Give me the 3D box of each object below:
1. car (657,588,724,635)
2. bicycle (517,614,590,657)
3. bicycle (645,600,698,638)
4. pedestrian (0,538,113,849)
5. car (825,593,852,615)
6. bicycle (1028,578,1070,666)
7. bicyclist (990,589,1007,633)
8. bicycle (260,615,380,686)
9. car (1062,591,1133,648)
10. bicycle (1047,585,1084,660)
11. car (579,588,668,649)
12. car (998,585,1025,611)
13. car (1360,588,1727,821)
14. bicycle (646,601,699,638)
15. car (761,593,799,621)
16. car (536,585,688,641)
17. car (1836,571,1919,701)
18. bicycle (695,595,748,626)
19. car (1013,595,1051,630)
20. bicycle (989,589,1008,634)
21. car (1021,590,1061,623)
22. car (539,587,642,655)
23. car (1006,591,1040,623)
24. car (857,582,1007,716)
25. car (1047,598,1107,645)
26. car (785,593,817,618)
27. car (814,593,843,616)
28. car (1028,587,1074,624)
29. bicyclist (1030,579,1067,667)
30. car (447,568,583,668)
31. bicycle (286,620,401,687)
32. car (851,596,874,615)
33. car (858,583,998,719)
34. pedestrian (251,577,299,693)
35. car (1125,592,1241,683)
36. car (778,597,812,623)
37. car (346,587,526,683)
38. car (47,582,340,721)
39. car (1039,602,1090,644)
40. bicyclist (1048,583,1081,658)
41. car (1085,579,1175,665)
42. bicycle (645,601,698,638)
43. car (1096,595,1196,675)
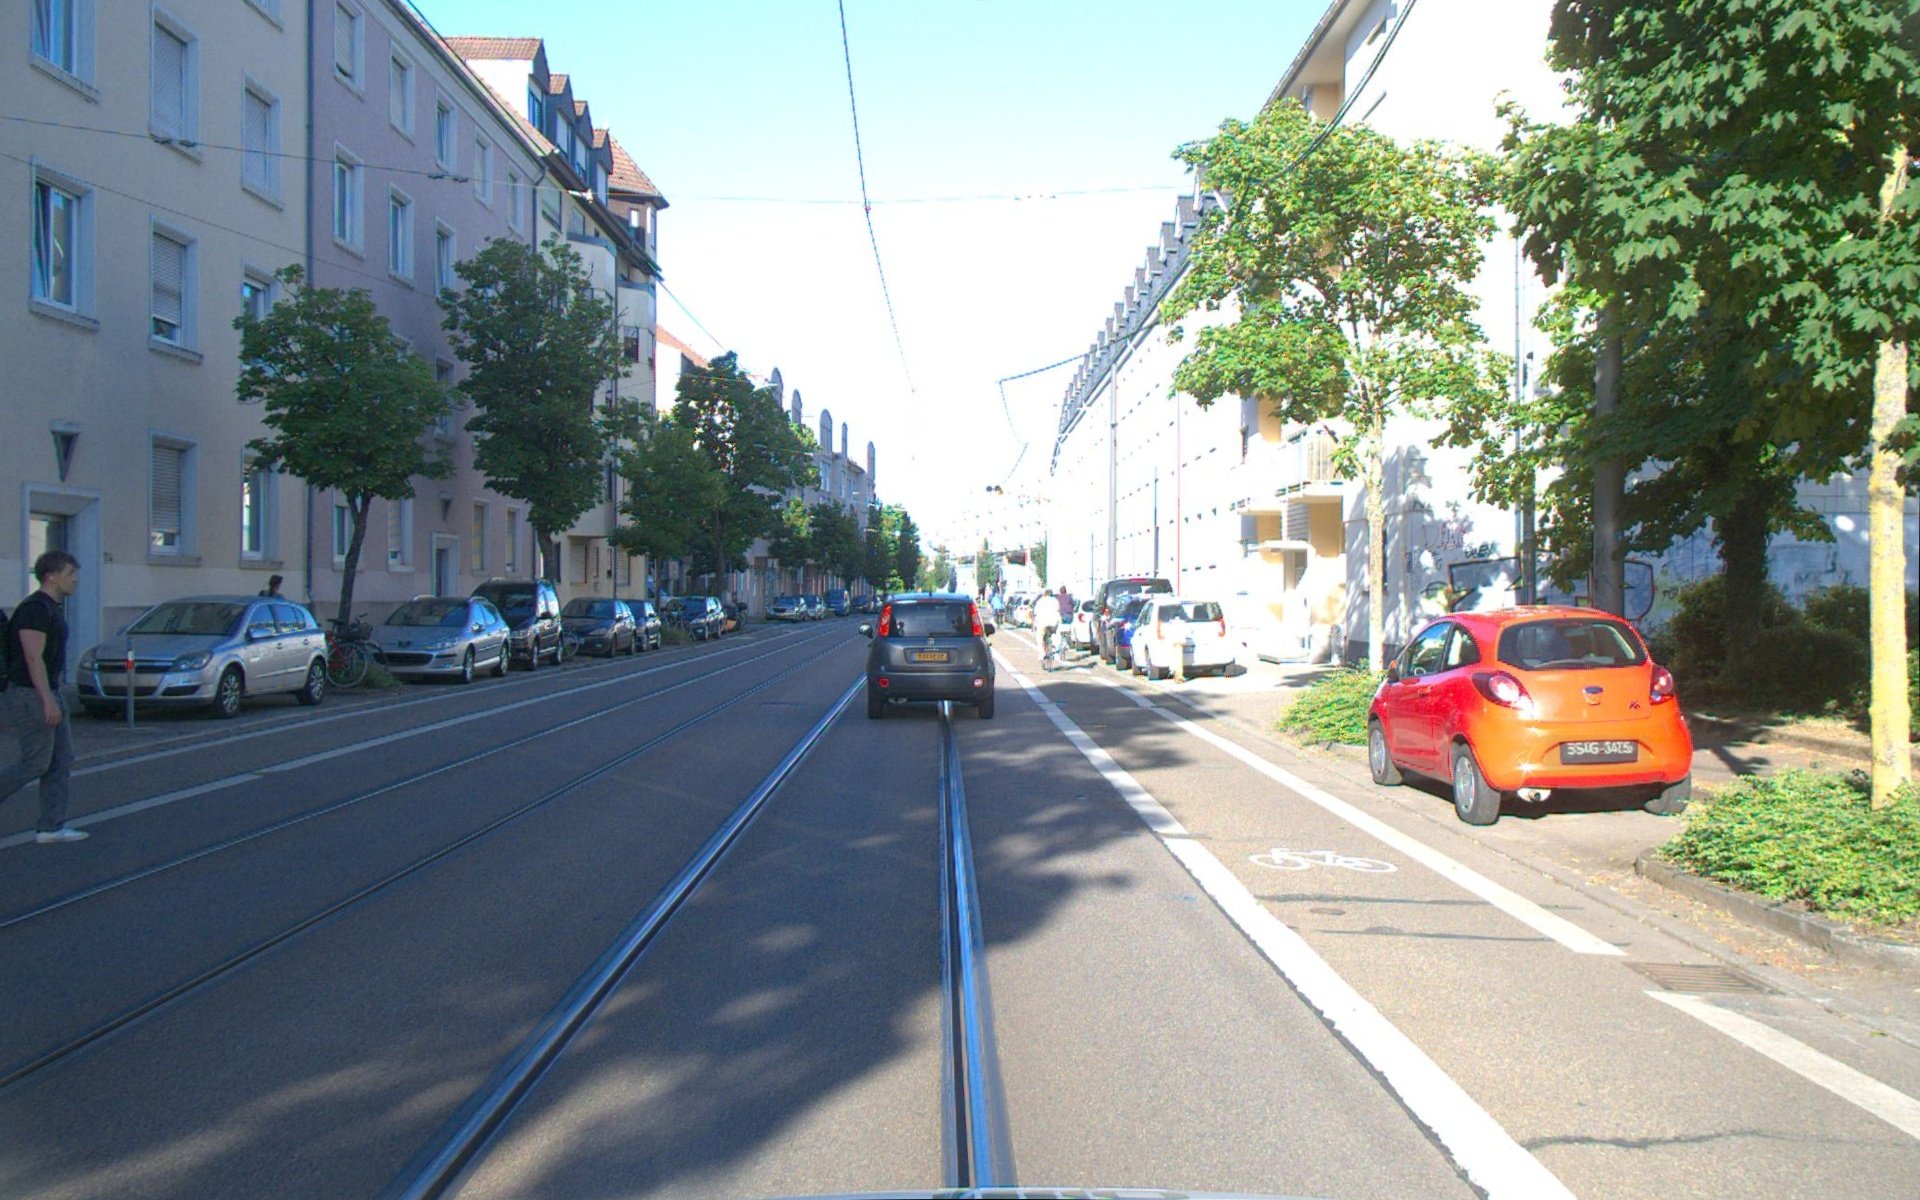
[{"bbox_3d":[-9.545,0.397,58.908,1.798,1.583,3.999,2,0,-2],"label":"car"},{"bbox_3d":[-9.629,0.841,39.189,1.600,0.954,0.516,2,0,-5],"label":"bicycle"},{"bbox_3d":[-9.687,0.626,55.537,1.695,1.217,0.372,2,0,-5],"label":"bicycle"},{"bbox_3d":[-5.658,0.542,10.013,0.837,1.808,0.731,-1,1,-21],"label":"pedestrian"},{"bbox_3d":[-8.932,0.294,121.650,1.672,1.523,3.721,2,0,0],"label":"car"},{"bbox_3d":[1.849,0.448,34.678,0.661,1.777,2.157,1,0,-2],"label":"bicycle"},{"bbox_3d":[1.788,0.512,77.496,0.700,2.049,0.831,1,0,-2],"label":"bicyclist"},{"bbox_3d":[-9.780,0.769,25.289,1.632,1.019,0.476,2,0,2],"label":"bicycle"},{"bbox_3d":[3.838,0.531,46.600,1.622,1.526,3.129,2,0,-1],"label":"car"},{"bbox_3d":[2.556,0.529,40.301,0.661,1.777,2.157,1,0,-2],"label":"bicycle"},{"bbox_3d":[-9.723,0.520,48.111,1.772,1.648,4.063,2,0,-1],"label":"car"},{"bbox_3d":[3.347,-0.164,107.868,1.551,1.627,3.375,2,0,-2],"label":"car"},{"bbox_3d":[4.403,0.712,13.000,1.602,1.534,3.396,-2,0,-1],"label":"car"},{"bbox_3d":[-9.793,0.674,56.345,1.695,1.217,0.372,2,0,-5],"label":"bicycle"},{"bbox_3d":[-10.137,0.387,93.185,1.672,1.523,3.721,2,0,0],"label":"car"},{"bbox_3d":[-16.667,0.612,79.430,6.759,2.445,2.176,2,0,0],"label":"car"},{"bbox_3d":[14.256,0.515,22.137,4.067,1.652,1.892,2,0,-3],"label":"car"},{"bbox_3d":[-10.517,0.474,72.889,2.232,1.310,0.757,2,0,-6],"label":"bicycle"},{"bbox_3d":[3.468,0.593,80.326,1.551,1.627,3.375,2,0,-2],"label":"car"},{"bbox_3d":[1.786,0.517,77.326,0.727,2.049,2.811,1,0,-2],"label":"bicycle"},{"bbox_3d":[3.721,0.286,76.060,1.551,1.430,3.375,2,0,-2],"label":"car"},{"bbox_3d":[-9.566,0.511,43.122,1.772,1.648,4.063,2,0,-1],"label":"car"},{"bbox_3d":[3.327,0.377,88.299,1.551,1.627,3.375,2,0,-2],"label":"car"},{"bbox_3d":[-0.429,0.566,20.843,1.697,1.535,3.394,0,0,-4],"label":"car"},{"bbox_3d":[3.717,0.660,53.044,1.551,1.430,3.375,2,0,-2],"label":"car"},{"bbox_3d":[-10.318,0.335,107.499,1.672,1.523,3.721,2,0,0],"label":"car"},{"bbox_3d":[-9.154,0.330,115.207,1.672,1.523,3.721,2,0,0],"label":"car"},{"bbox_3d":[3.705,0.205,67.670,1.551,1.430,3.375,2,0,-2],"label":"car"},{"bbox_3d":[1.852,0.478,34.645,0.685,1.790,0.757,1,0,-2],"label":"bicyclist"},{"bbox_3d":[-9.535,0.359,35.762,1.772,1.977,4.333,2,0,-1],"label":"car"},{"bbox_3d":[-9.830,0.847,26.414,1.637,1.019,0.475,2,0,-12],"label":"bicycle"},{"bbox_3d":[-8.094,0.415,137.436,1.672,1.523,3.721,2,0,0],"label":"car"},{"bbox_3d":[-0.422,0.601,21.741,1.616,1.568,4.233,1,0,-1],"label":"car"},{"bbox_3d":[-11.239,0.569,27.141,0.525,1.858,0.542,1,0,-1],"label":"pedestrian"},{"bbox_3d":[4.179,0.670,31.434,1.622,1.599,3.498,2,0,-1],"label":"car"},{"bbox_3d":[-10.207,0.587,102.665,1.672,1.523,3.721,2,0,0],"label":"car"},{"bbox_3d":[-9.305,0.574,29.772,1.772,1.534,4.680,2,0,-1],"label":"car"},{"bbox_3d":[-9.521,0.582,20.956,1.772,1.534,4.190,2,0,-1],"label":"car"},{"bbox_3d":[3.839,0.827,61.212,1.551,1.430,3.375,-3,0,-2],"label":"car"},{"bbox_3d":[2.545,0.491,40.311,0.685,1.790,0.757,1,0,-2],"label":"bicyclist"},{"bbox_3d":[4.153,0.516,41.080,1.622,1.978,4.663,2,0,-1],"label":"car"},{"bbox_3d":[-9.744,0.666,55.932,1.695,1.217,0.372,2,0,-5],"label":"bicycle"},{"bbox_3d":[3.977,0.709,35.931,1.622,1.599,3.875,2,0,-1],"label":"car"}]
